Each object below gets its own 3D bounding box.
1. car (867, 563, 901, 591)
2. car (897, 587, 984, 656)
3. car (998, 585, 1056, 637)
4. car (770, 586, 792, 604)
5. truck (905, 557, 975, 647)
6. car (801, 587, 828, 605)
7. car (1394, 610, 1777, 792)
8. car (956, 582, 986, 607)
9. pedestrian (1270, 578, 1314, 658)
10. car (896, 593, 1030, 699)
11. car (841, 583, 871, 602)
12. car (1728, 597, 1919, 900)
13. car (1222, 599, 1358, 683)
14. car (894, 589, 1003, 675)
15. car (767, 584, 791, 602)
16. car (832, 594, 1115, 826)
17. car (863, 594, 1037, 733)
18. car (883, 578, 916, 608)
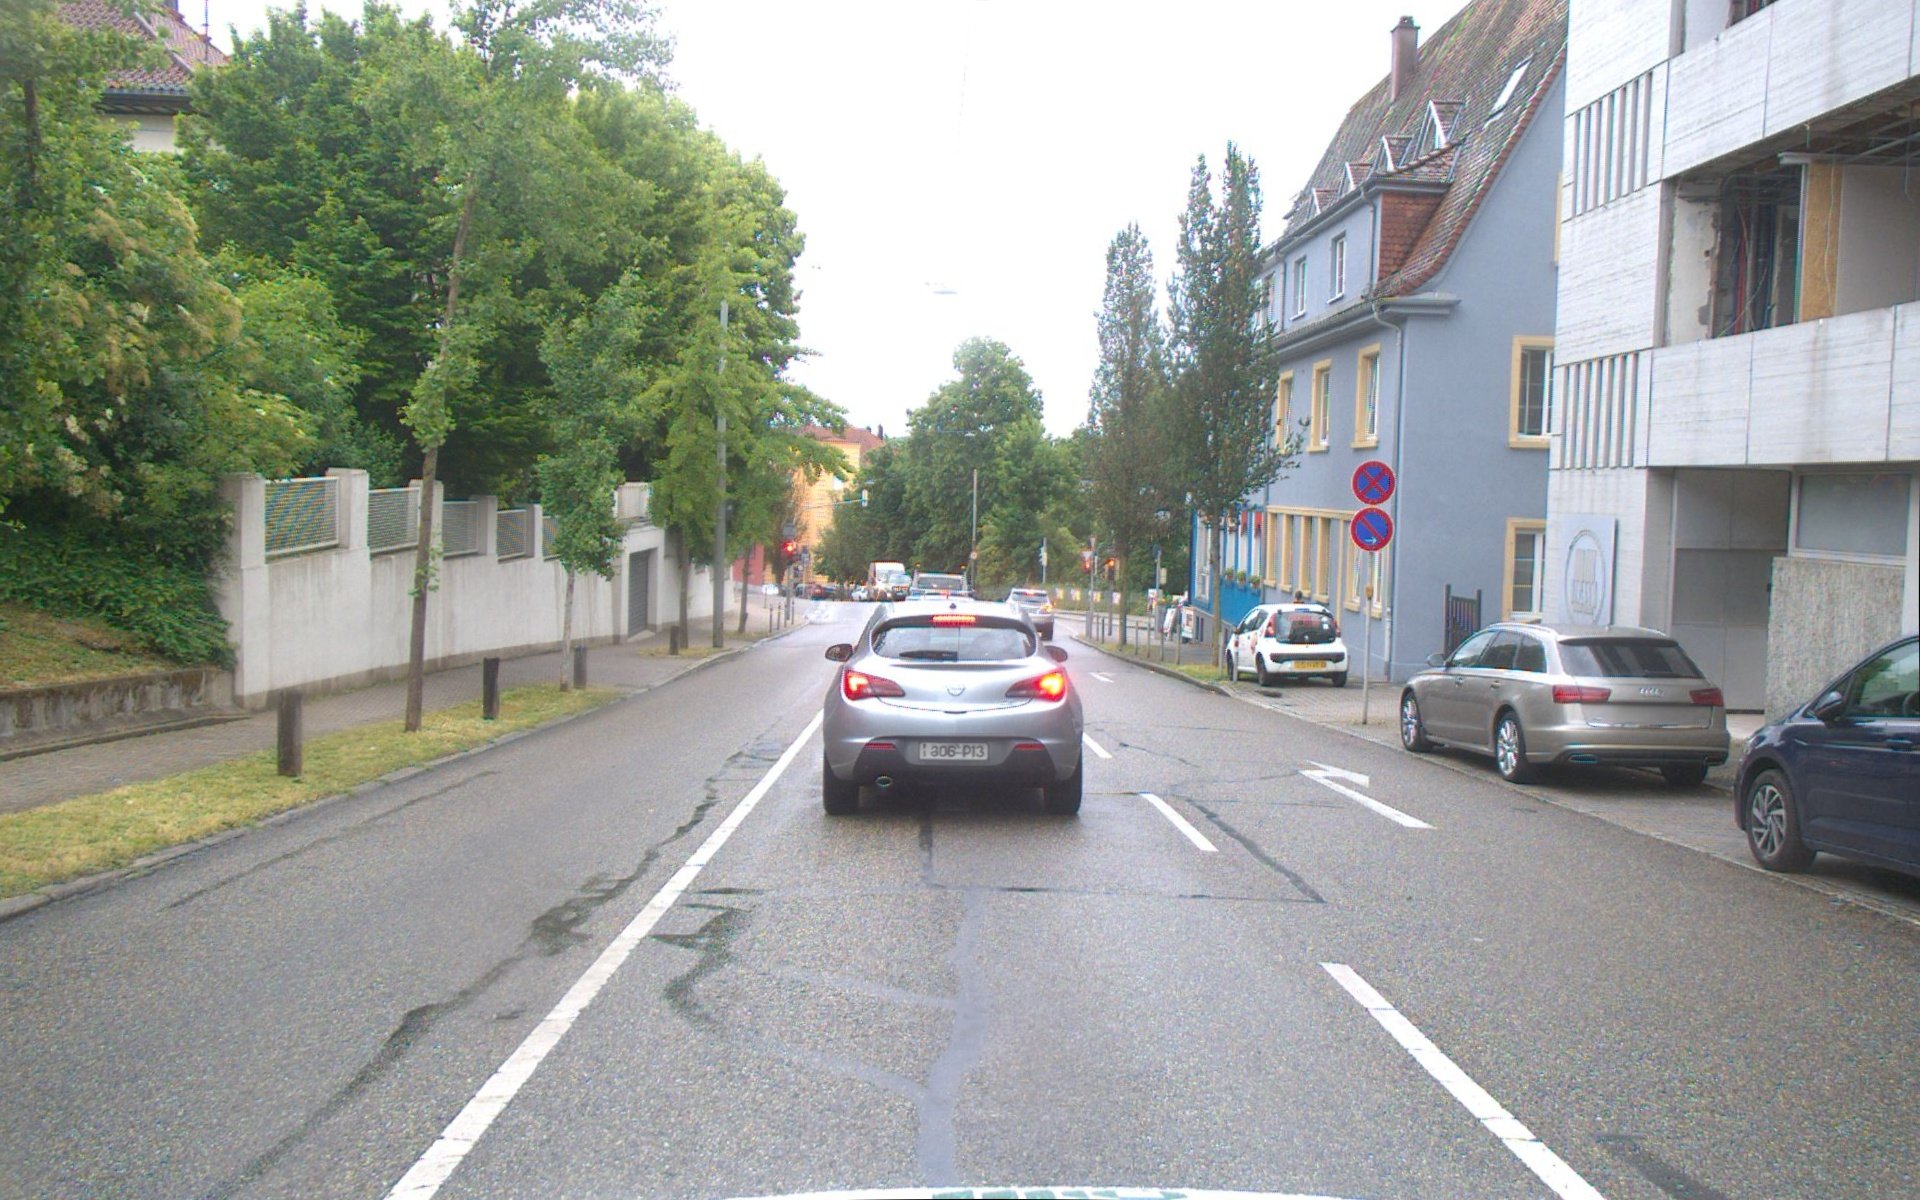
[{"bbox_3d":[-4.726,-1.397,102.758,1.691,1.666,3.871,0,0,-10],"label":"car"},{"bbox_3d":[-0.513,0.480,39.668,1.922,1.473,4.303,2,0,-2],"label":"car"},{"bbox_3d":[2.300,0.350,57.747,1.688,1.744,3.877,0,0,-3],"label":"car"},{"bbox_3d":[-17.214,-0.506,159.110,1.692,1.666,3.868,2,-1,-12],"label":"car"},{"bbox_3d":[-0.650,0.035,49.667,1.922,2.471,4.934,2,0,-2],"label":"truck"},{"bbox_3d":[-14.127,-0.384,160.457,1.696,1.666,3.859,0,0,-18],"label":"car"},{"bbox_3d":[5.982,0.886,16.495,1.923,1.473,4.524,1,1,-3],"label":"car"},{"bbox_3d":[0.744,-0.393,111.505,1.689,1.666,3.876,0,0,-4],"label":"car"},{"bbox_3d":[7.442,0.403,37.101,0.767,1.759,0.650,2,0,-1],"label":"pedestrian"},{"bbox_3d":[-0.027,0.668,26.635,1.922,1.473,4.303,2,0,-2],"label":"car"},{"bbox_3d":[-8.930,-0.671,141.782,1.696,1.570,3.859,0,0,-18],"label":"car"},{"bbox_3d":[6.020,0.811,8.886,1.694,1.627,4.159,1,0,-3],"label":"car"},{"bbox_3d":[6.188,0.735,31.379,1.688,1.473,3.878,0,0,-2],"label":"car"},{"bbox_3d":[-0.281,0.562,32.011,1.922,1.473,4.303,2,0,-2],"label":"car"},{"bbox_3d":[-15.147,-0.609,138.230,1.688,1.485,3.878,0,0,-2],"label":"car"},{"bbox_3d":[0.000,0.701,12.576,1.800,1.459,3.877,1,0,-3],"label":"car"},{"bbox_3d":[-0.181,0.718,20.910,1.922,1.473,4.303,2,0,-2],"label":"car"},{"bbox_3d":[-3.479,-0.422,95.139,1.833,1.666,3.878,0,0,-2],"label":"car"}]
